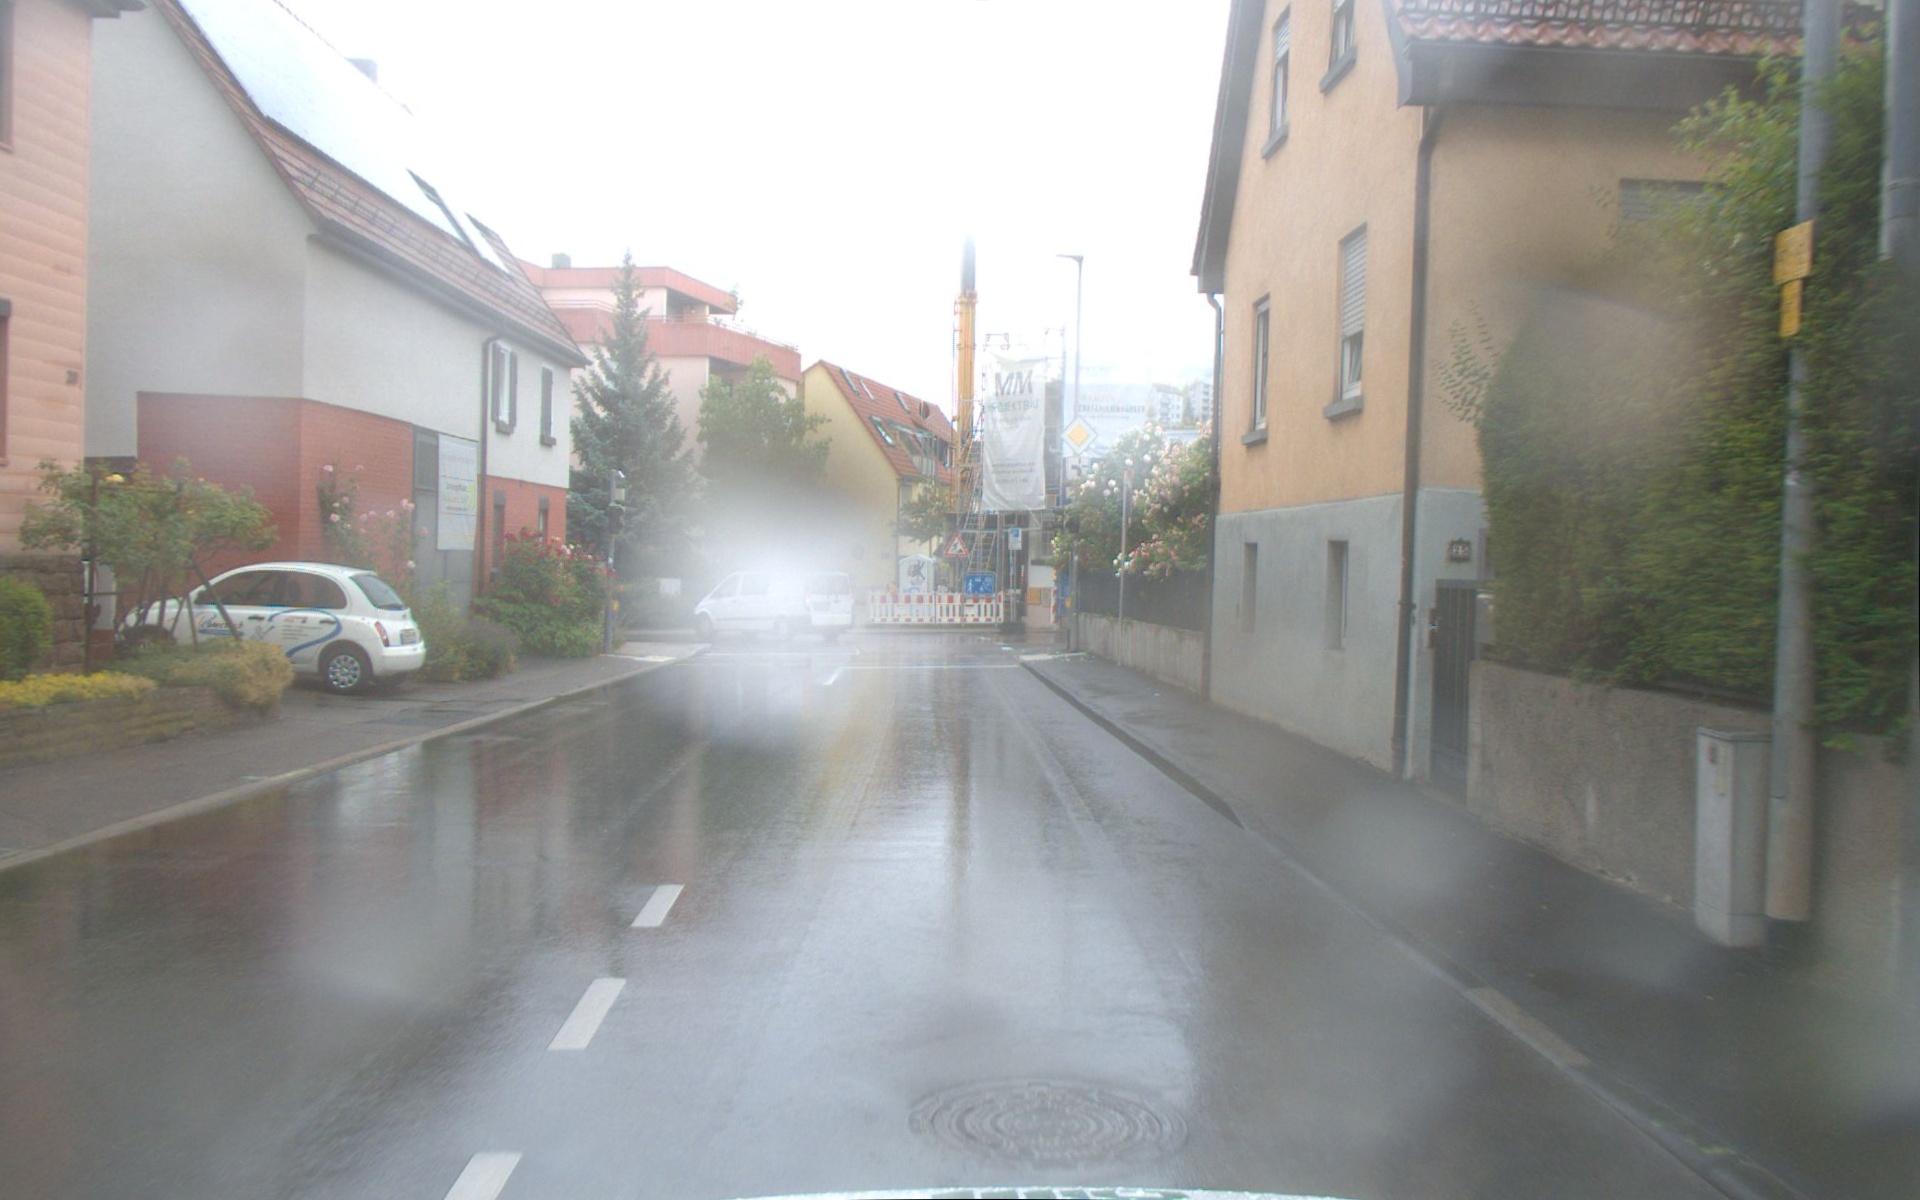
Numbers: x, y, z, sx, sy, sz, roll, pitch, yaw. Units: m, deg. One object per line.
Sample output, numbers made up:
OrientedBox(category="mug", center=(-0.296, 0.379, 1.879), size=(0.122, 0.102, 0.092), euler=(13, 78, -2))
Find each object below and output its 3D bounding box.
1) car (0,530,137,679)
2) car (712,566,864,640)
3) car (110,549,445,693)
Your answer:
OrientedBox(category="car", center=(-12.974, -0.038, 21.163), size=(3.907, 1.794, 1.757), euler=(3, 0, -2))
OrientedBox(category="car", center=(-4.686, 0.075, 44.784), size=(2.171, 1.902, 3.936), euler=(1, 0, -43))
OrientedBox(category="car", center=(-8.567, 0.255, 20.961), size=(3.473, 1.555, 1.663), euler=(3, 0, -1))
